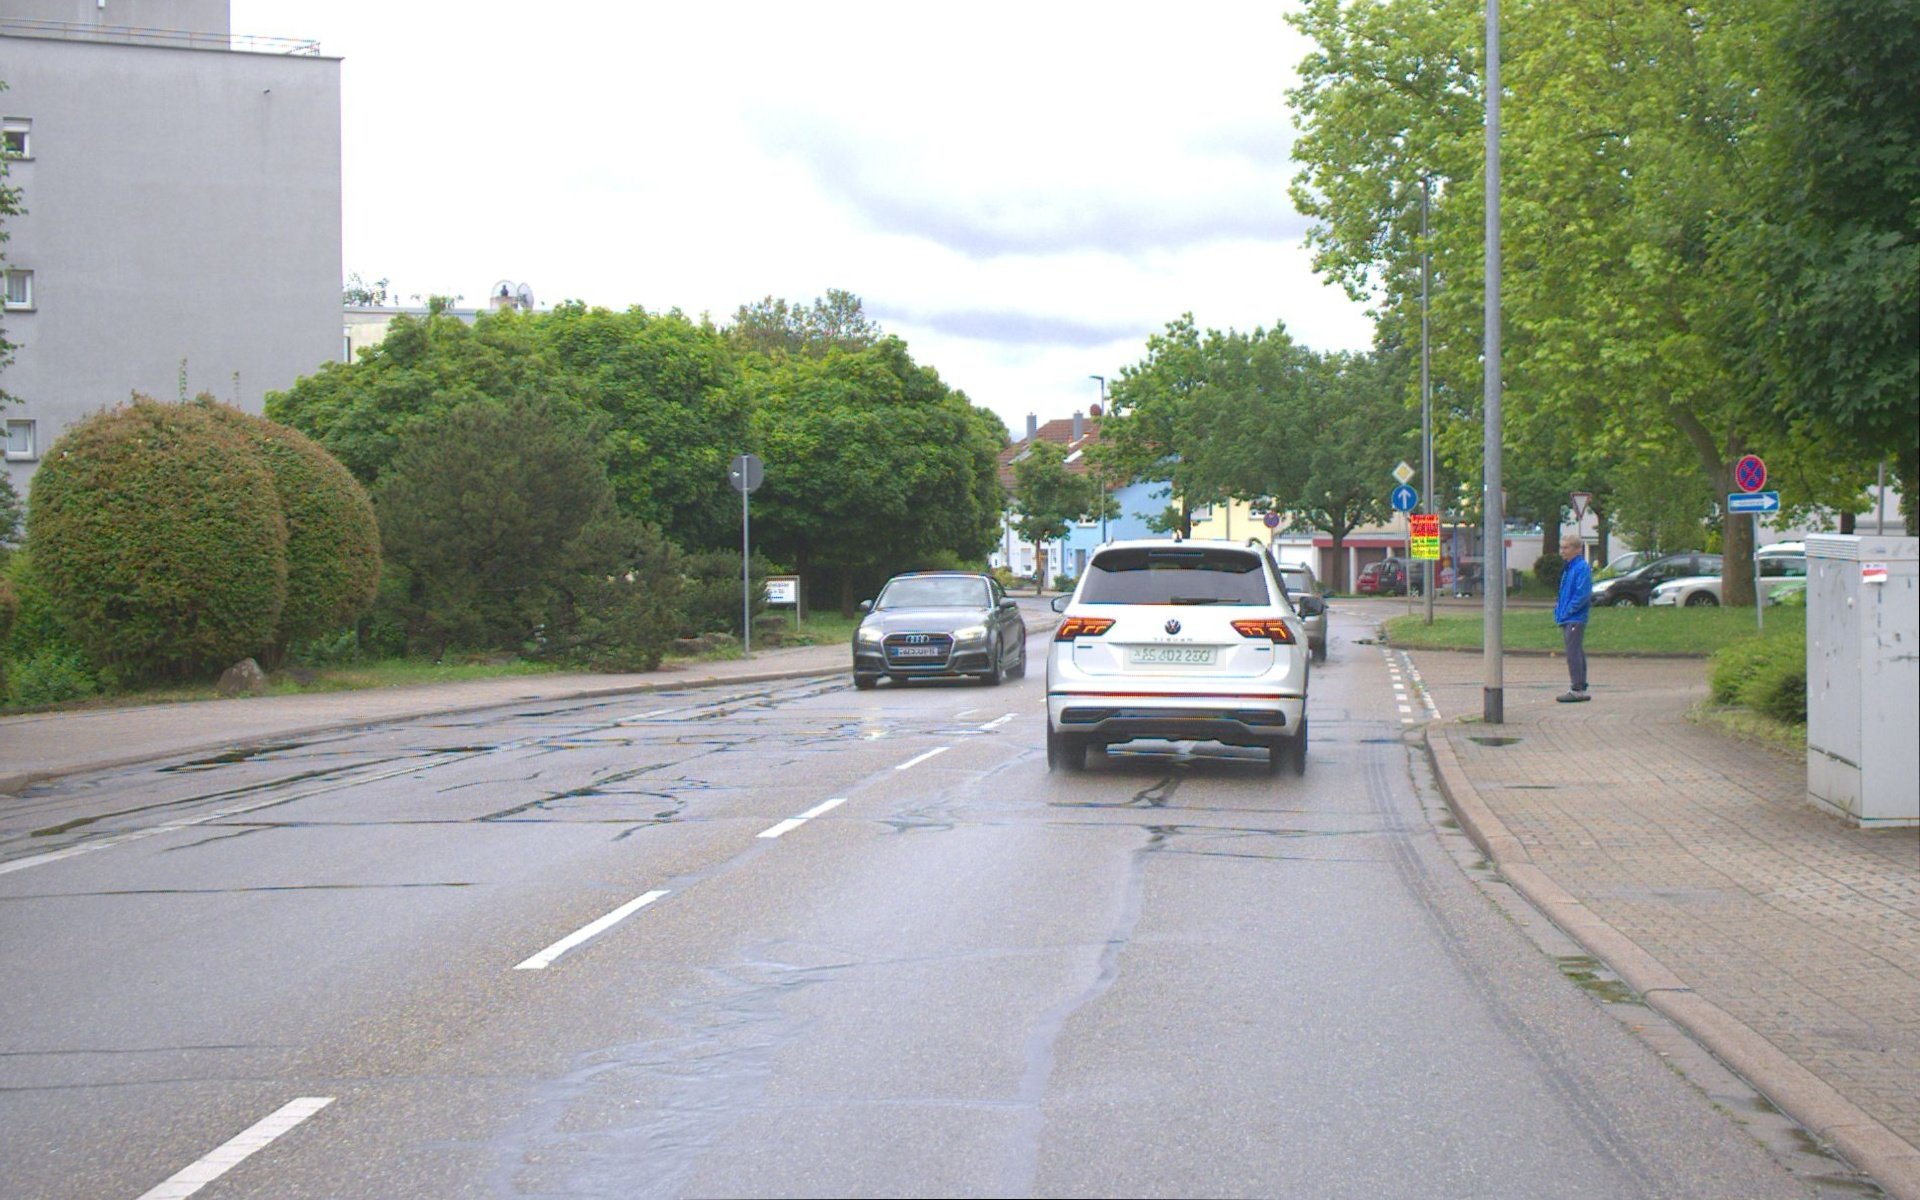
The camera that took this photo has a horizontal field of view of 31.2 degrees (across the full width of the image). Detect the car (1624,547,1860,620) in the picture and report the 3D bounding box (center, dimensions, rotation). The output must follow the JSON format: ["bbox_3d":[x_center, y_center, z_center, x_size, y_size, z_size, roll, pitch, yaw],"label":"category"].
[{"bbox_3d":[16.448,-0.361,72.469,4.573,1.438,1.764,-1,1,1],"label":"car"}]

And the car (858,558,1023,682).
[{"bbox_3d":[-0.201,0.217,42.909,1.674,1.438,3.999,-1,1,5],"label":"car"}]

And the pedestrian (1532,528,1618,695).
[{"bbox_3d":[6.194,0.115,34.648,0.589,1.660,0.776,1,0,-10],"label":"pedestrian"}]

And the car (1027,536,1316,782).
[{"bbox_3d":[1.637,0.374,25.316,1.865,1.645,3.999,-1,1,7],"label":"car"}]

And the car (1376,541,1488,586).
[{"bbox_3d":[18.527,-1.436,134.871,3.987,1.715,1.924,-1,1,-29],"label":"car"}]

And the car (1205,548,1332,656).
[{"bbox_3d":[4.589,0.010,51.629,1.769,1.546,4.000,0,1,3],"label":"car"}]

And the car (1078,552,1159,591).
[{"bbox_3d":[5.806,-1.073,126.417,1.993,1.415,4.001,0,1,-12],"label":"car"}]

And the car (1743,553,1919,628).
[{"bbox_3d":[18.055,-0.210,69.534,4.010,1.438,1.764,-1,1,1],"label":"car"}]

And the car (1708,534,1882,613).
[{"bbox_3d":[20.465,-0.650,84.428,1.993,1.875,4.213,-1,1,-24],"label":"car"}]

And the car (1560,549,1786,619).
[{"bbox_3d":[15.561,-0.358,75.153,4.573,1.438,1.764,-1,1,1],"label":"car"}]
